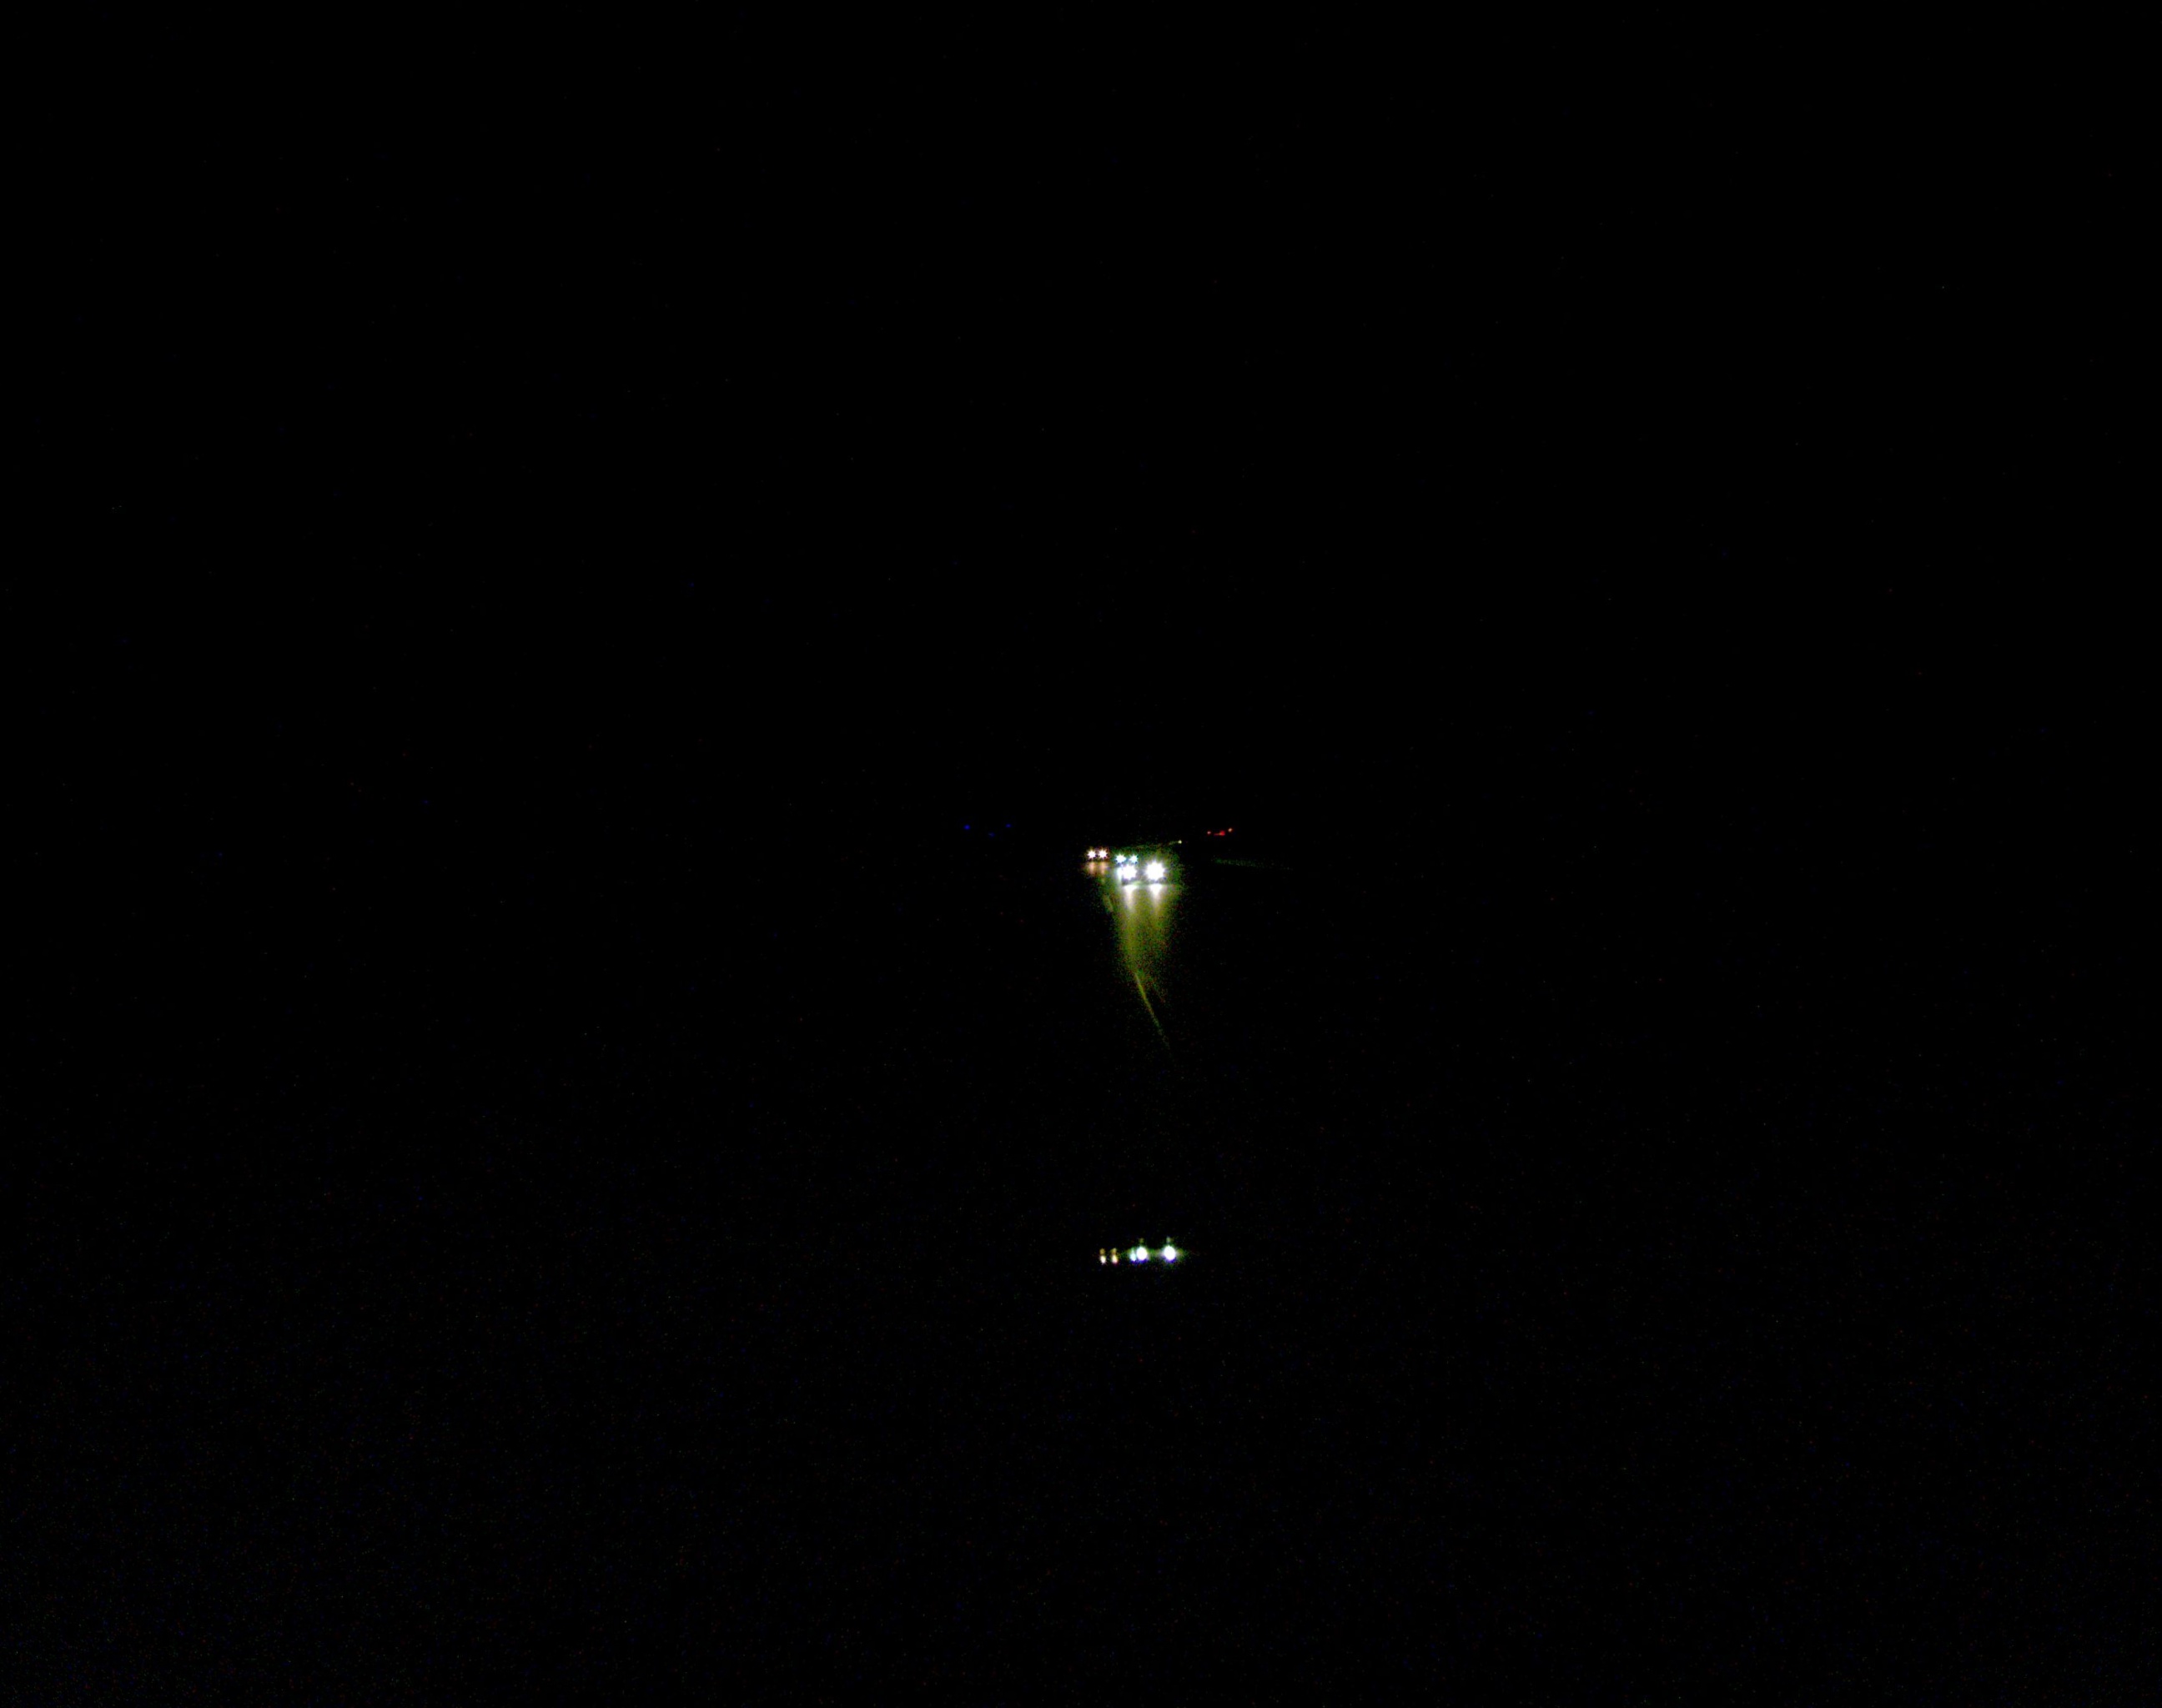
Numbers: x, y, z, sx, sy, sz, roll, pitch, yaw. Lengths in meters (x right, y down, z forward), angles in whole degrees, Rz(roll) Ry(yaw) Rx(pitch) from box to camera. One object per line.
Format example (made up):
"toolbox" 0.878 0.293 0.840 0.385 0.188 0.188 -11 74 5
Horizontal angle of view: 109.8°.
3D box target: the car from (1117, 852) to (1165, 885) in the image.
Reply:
"car" 2.949 0.687 38.067 1.833 1.404 3.998 -3 1 -3

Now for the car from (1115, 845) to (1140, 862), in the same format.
"car" 4.714 -0.076 77.217 1.997 1.456 4.002 -3 1 10

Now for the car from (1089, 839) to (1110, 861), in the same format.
"car" 2.617 -0.615 107.110 2.533 2.888 6.228 -3 1 4
